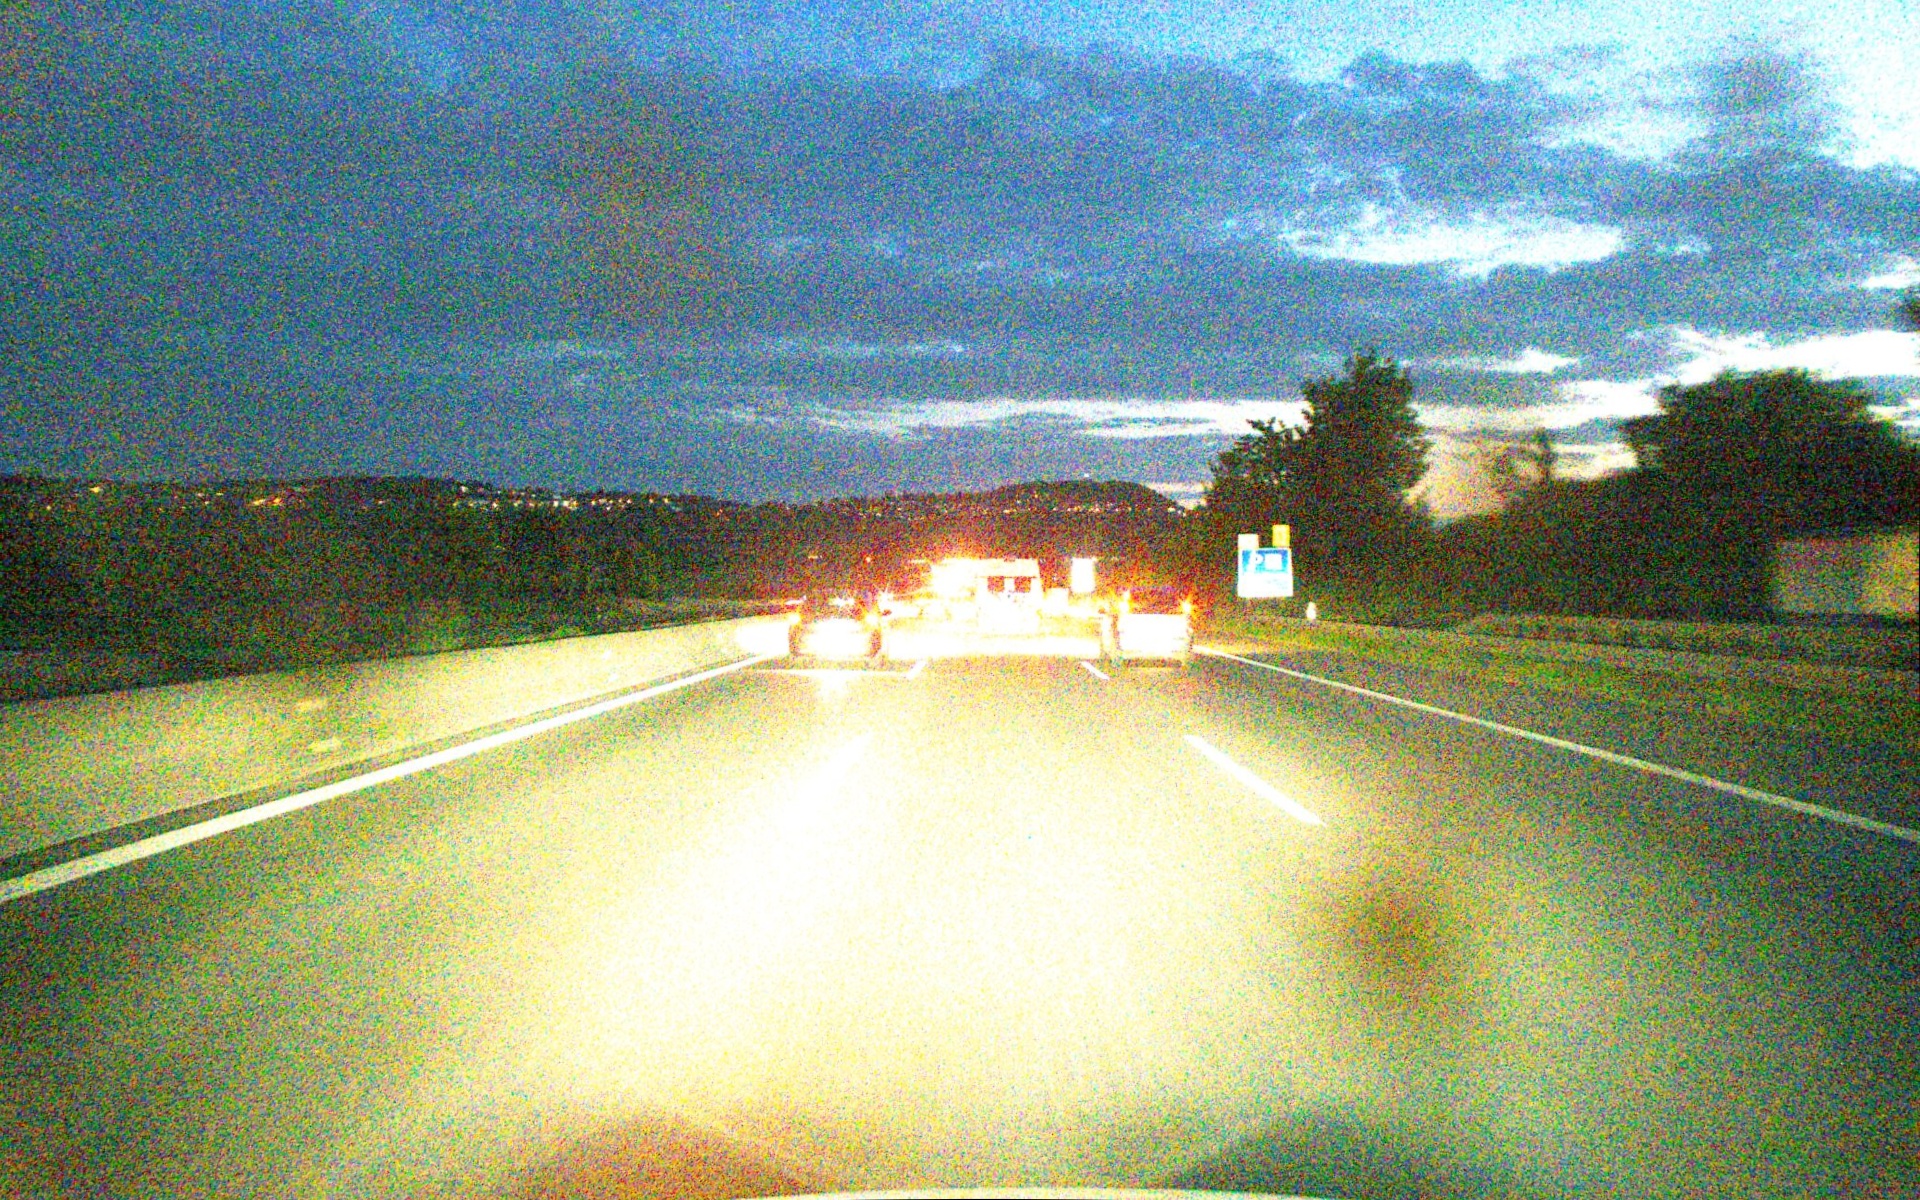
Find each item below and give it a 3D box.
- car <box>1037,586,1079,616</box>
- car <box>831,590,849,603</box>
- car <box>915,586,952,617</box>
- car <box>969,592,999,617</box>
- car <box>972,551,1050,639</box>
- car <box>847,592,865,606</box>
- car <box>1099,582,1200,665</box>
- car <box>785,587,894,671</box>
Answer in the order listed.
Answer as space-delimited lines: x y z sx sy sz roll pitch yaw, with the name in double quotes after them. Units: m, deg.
5.317 0.014 90.445 2.118 1.591 4.723 0 0 1 "car"
-16.697 -0.462 230.659 2.003 1.750 4.775 -3 0 1 "car"
-1.285 0.041 82.767 1.709 1.465 4.368 -1 1 1 "car"
1.895 0.320 130.745 2.303 1.947 4.723 -1 0 1 "car"
1.574 -0.183 52.311 2.303 2.579 5.702 -1 1 1 "car"
-12.997 -0.126 206.633 1.864 1.671 5.299 -1 0 1 "car"
3.944 0.454 34.984 1.612 1.624 4.509 0 0 0 "car"
-2.267 0.505 31.916 1.757 1.494 3.773 0 1 1 "car"
